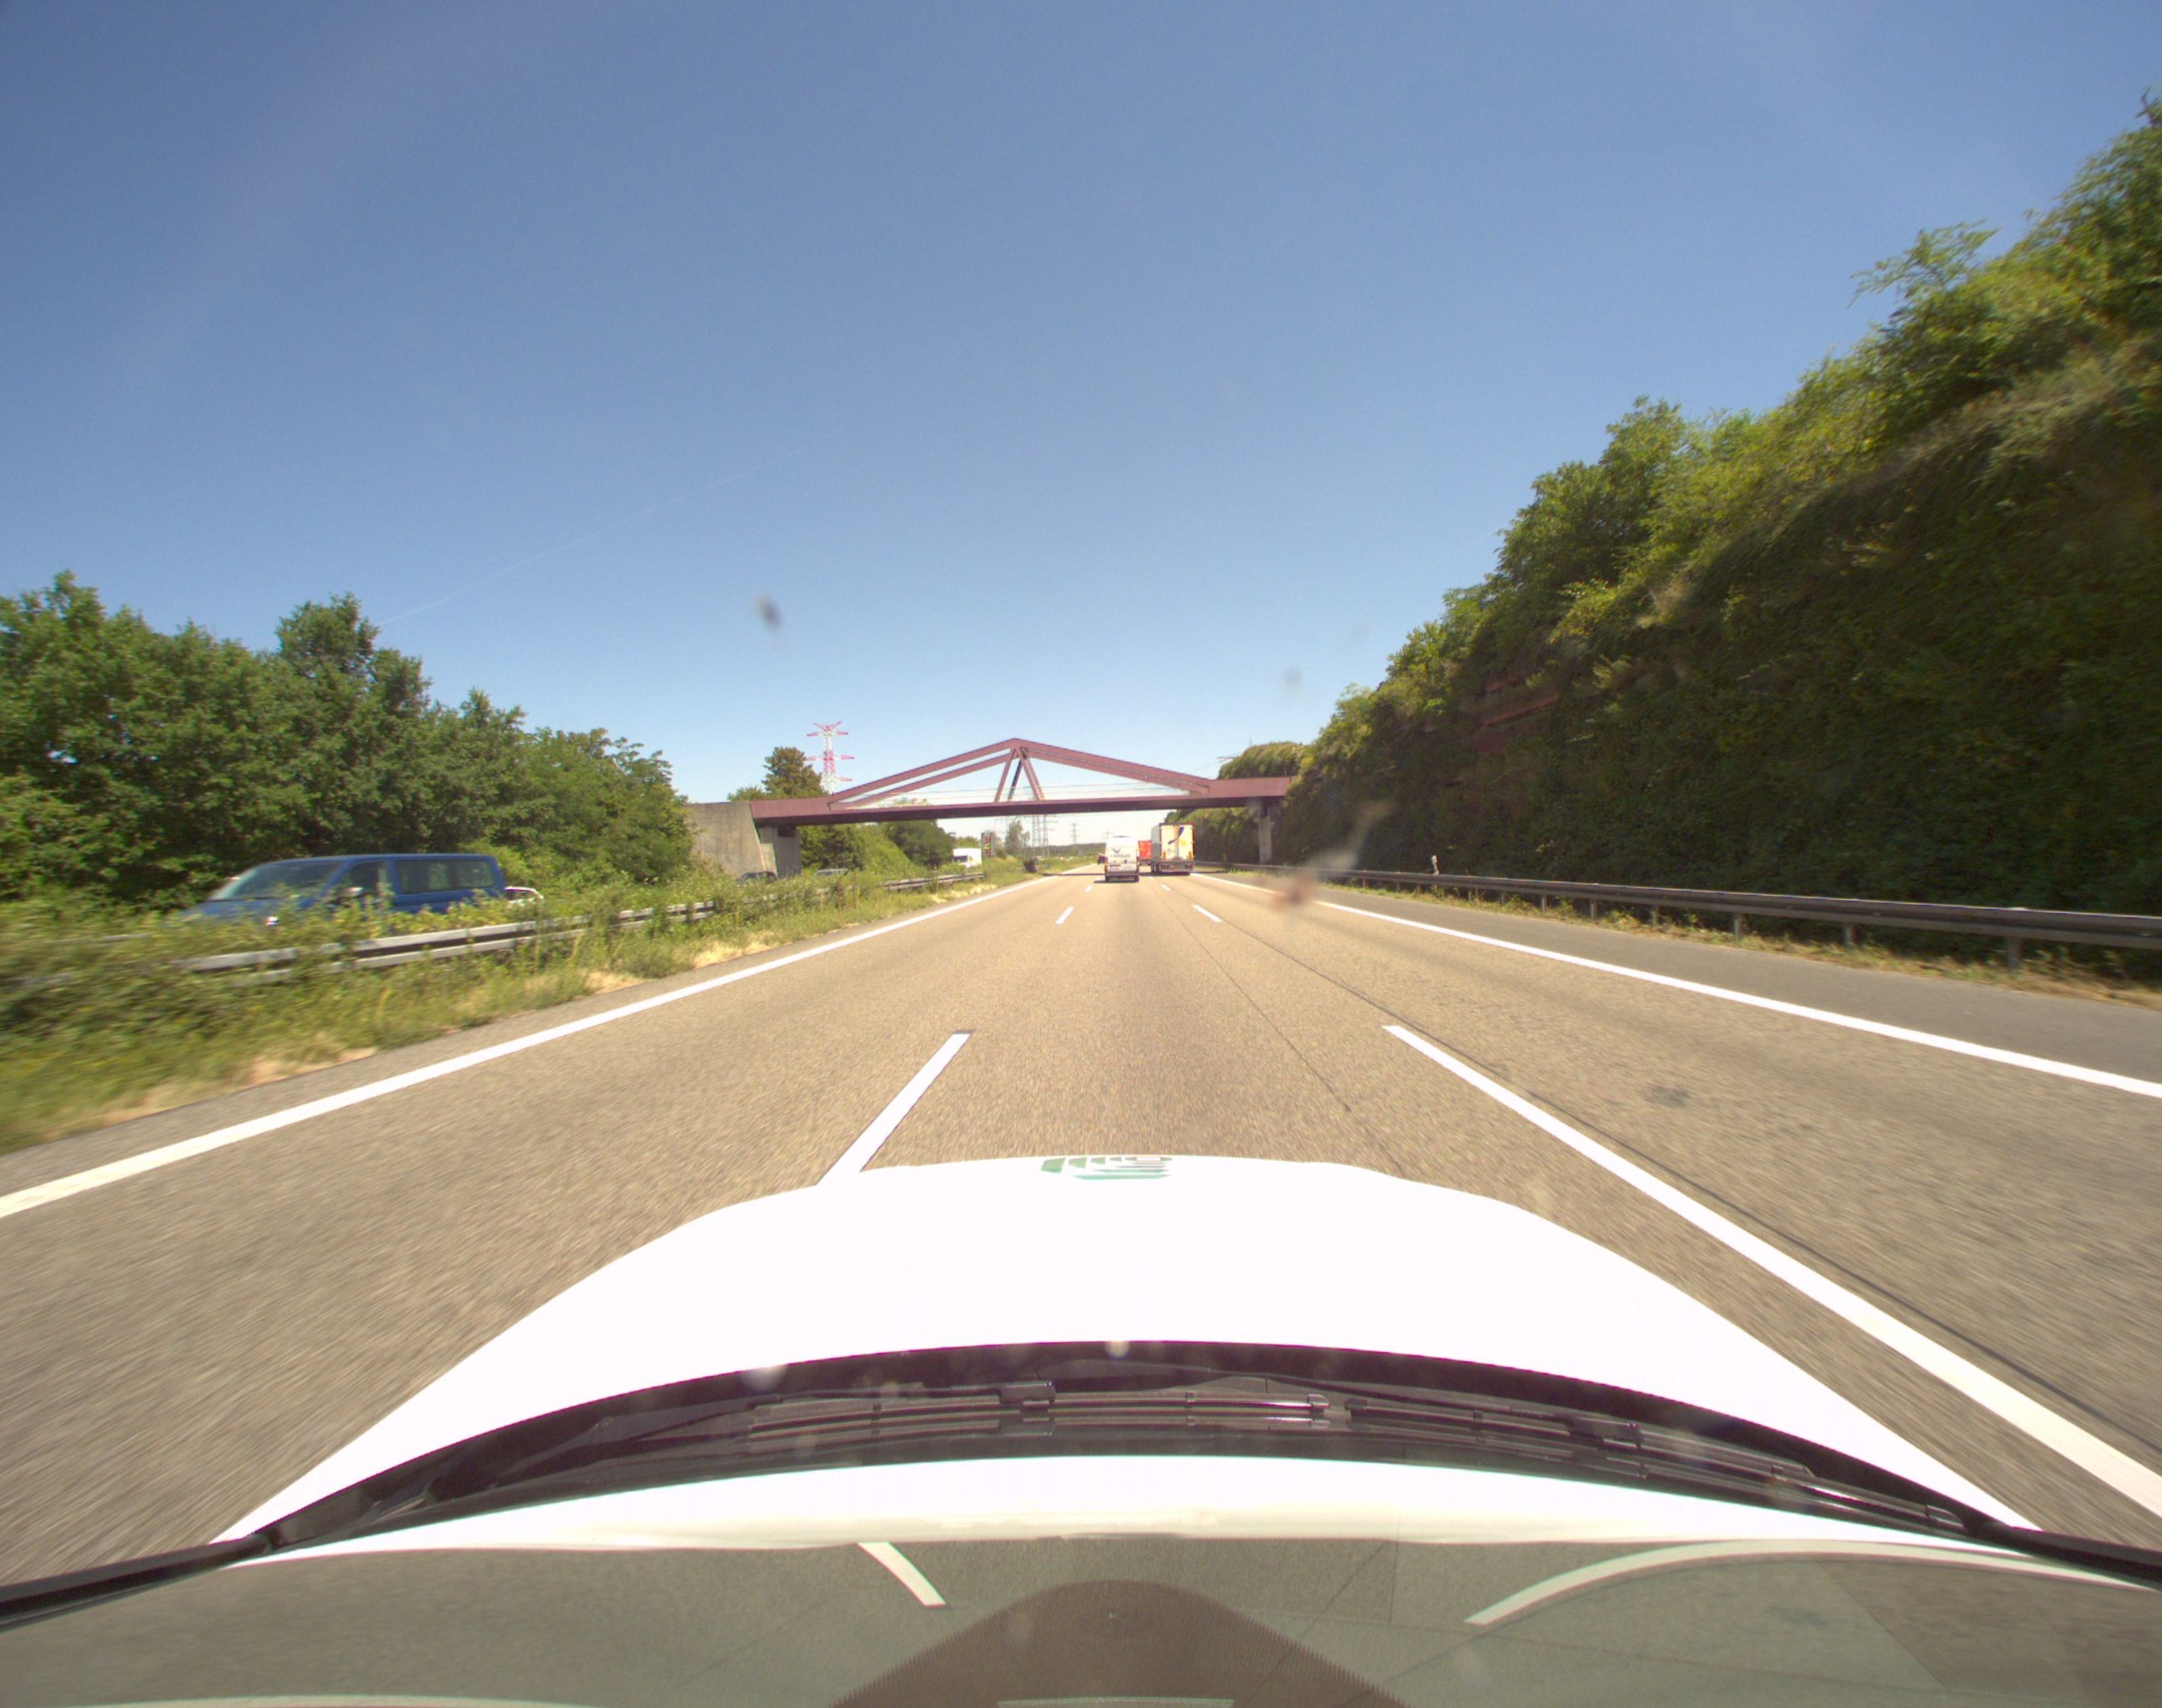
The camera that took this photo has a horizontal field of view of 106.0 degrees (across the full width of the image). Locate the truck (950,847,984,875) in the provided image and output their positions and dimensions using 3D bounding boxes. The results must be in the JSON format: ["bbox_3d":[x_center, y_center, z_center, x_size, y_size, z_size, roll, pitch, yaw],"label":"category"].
[{"bbox_3d":[-15.640,0.949,112.712,2.798,3.537,10.193,-4,0,2],"label":"truck"}]

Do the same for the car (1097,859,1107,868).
[{"bbox_3d":[4.366,1.848,166.802,1.974,1.817,3.816,0,0,4],"label":"car"}]

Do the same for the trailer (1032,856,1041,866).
[{"bbox_3d":[-11.364,1.733,209.378,1.792,2.618,4.412,0,0,4],"label":"trailer"}]

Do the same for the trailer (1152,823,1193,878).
[{"bbox_3d":[7.352,-0.241,66.777,2.627,4.060,12.375,0,0,3],"label":"trailer"}]

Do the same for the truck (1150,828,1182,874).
[{"bbox_3d":[7.740,-0.225,74.701,2.627,4.060,5.804,0,0,3],"label":"truck"}]

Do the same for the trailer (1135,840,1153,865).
[{"bbox_3d":[10.025,-0.213,130.429,2.627,3.897,7.073,0,0,3],"label":"trailer"}]

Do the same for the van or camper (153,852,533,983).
[{"bbox_3d":[-11.850,0.883,13.700,1.837,1.812,4.876,0,0,2],"label":"van or camper"}]

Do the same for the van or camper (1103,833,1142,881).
[{"bbox_3d":[2.464,0.181,49.410,2.222,2.782,5.425,0,0,2],"label":"van or camper"}]

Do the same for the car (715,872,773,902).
[{"bbox_3d":[-22.009,2.120,53.364,1.693,1.768,4.407,0,0,4],"label":"car"}]
